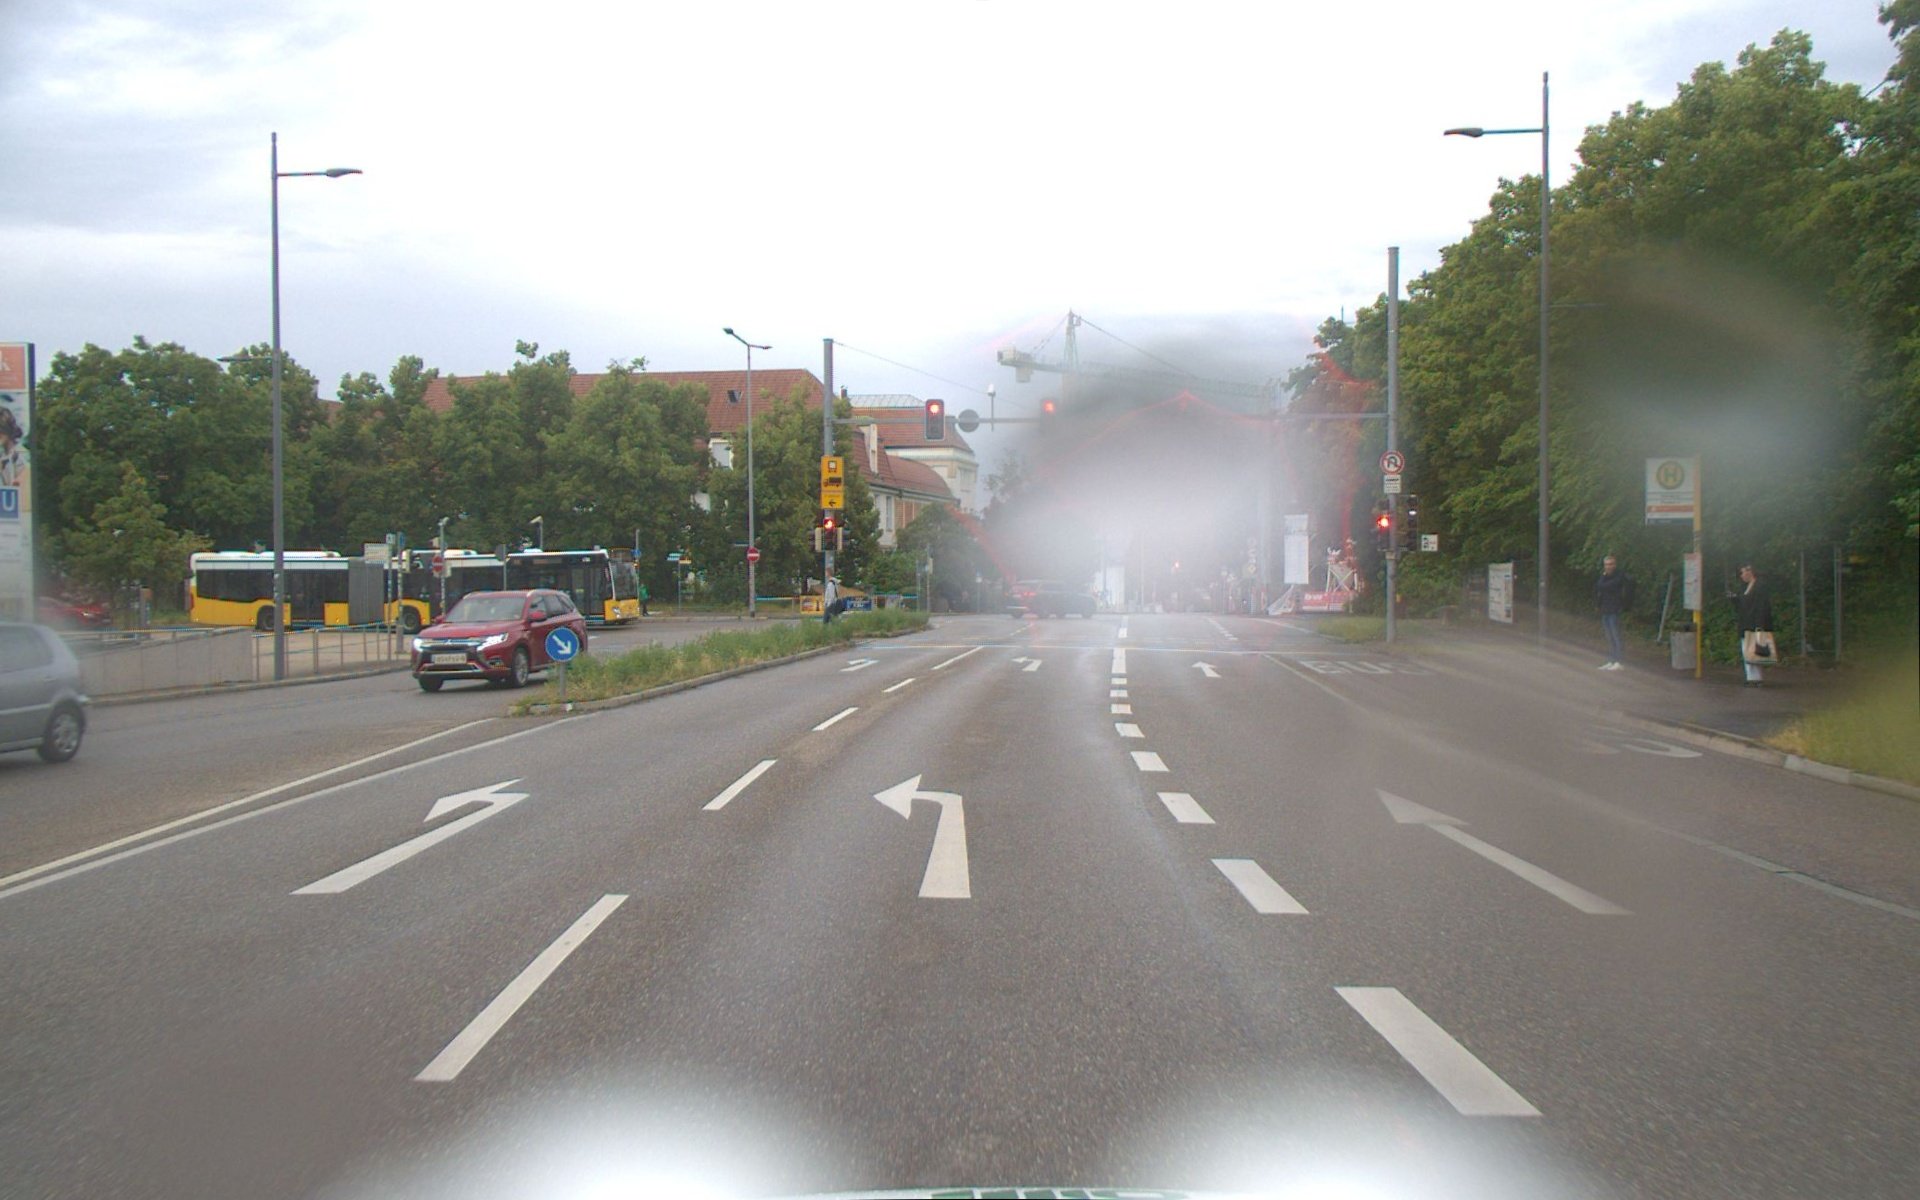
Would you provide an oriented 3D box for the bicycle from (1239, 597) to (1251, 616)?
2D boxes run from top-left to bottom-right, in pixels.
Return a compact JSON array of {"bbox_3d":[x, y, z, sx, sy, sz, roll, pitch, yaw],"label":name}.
[{"bbox_3d":[19.281,0.423,111.787,0.705,1.214,1.757,1,-1,7],"label":"bicycle"}]

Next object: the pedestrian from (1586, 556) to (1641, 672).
[{"bbox_3d":[11.064,0.222,28.023,0.627,1.934,0.718,-1,0,0],"label":"pedestrian"}]

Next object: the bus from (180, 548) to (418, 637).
[{"bbox_3d":[-26.022,-0.306,65.264,8.365,3.365,2.900,0,0,8],"label":"bus"}]

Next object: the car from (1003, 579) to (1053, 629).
[{"bbox_3d":[3.014,0.208,72.854,1.903,2.056,4.553,1,-1,6],"label":"car"}]

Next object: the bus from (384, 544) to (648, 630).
[{"bbox_3d":[-17.052,-0.472,63.700,9.517,3.157,2.900,0,0,12],"label":"bus"}]

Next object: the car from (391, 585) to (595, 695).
[{"bbox_3d":[-8.156,0.633,29.383,1.814,1.712,4.741,-3,0,6],"label":"car"}]

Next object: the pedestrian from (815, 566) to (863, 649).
[{"bbox_3d":[-3.079,0.186,42.010,0.920,2.048,0.848,-3,0,11],"label":"pedestrian"}]

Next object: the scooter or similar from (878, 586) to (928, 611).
[{"bbox_3d":[-3.521,-0.091,102.349,3.023,1.465,0.949,-1,0,4],"label":"scooter or similar"}]

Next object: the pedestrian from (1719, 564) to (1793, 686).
[{"bbox_3d":[11.240,0.338,23.380,0.662,1.687,0.793,-1,0,0],"label":"pedestrian"}]

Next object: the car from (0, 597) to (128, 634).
[{"bbox_3d":[-38.055,0.663,70.158,4.476,1.450,2.001,2,-1,6],"label":"car"}]

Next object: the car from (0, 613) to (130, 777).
[{"bbox_3d":[-9.548,0.920,15.017,1.725,1.441,3.881,-3,0,6],"label":"car"}]

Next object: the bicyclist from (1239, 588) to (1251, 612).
[{"bbox_3d":[19.281,0.022,111.761,0.705,1.591,1.143,1,-1,7],"label":"bicyclist"}]

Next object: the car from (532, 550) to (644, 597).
[{"bbox_3d":[-15.003,-1.057,66.793,3.902,1.736,2.001,1,-1,9],"label":"car"}]
